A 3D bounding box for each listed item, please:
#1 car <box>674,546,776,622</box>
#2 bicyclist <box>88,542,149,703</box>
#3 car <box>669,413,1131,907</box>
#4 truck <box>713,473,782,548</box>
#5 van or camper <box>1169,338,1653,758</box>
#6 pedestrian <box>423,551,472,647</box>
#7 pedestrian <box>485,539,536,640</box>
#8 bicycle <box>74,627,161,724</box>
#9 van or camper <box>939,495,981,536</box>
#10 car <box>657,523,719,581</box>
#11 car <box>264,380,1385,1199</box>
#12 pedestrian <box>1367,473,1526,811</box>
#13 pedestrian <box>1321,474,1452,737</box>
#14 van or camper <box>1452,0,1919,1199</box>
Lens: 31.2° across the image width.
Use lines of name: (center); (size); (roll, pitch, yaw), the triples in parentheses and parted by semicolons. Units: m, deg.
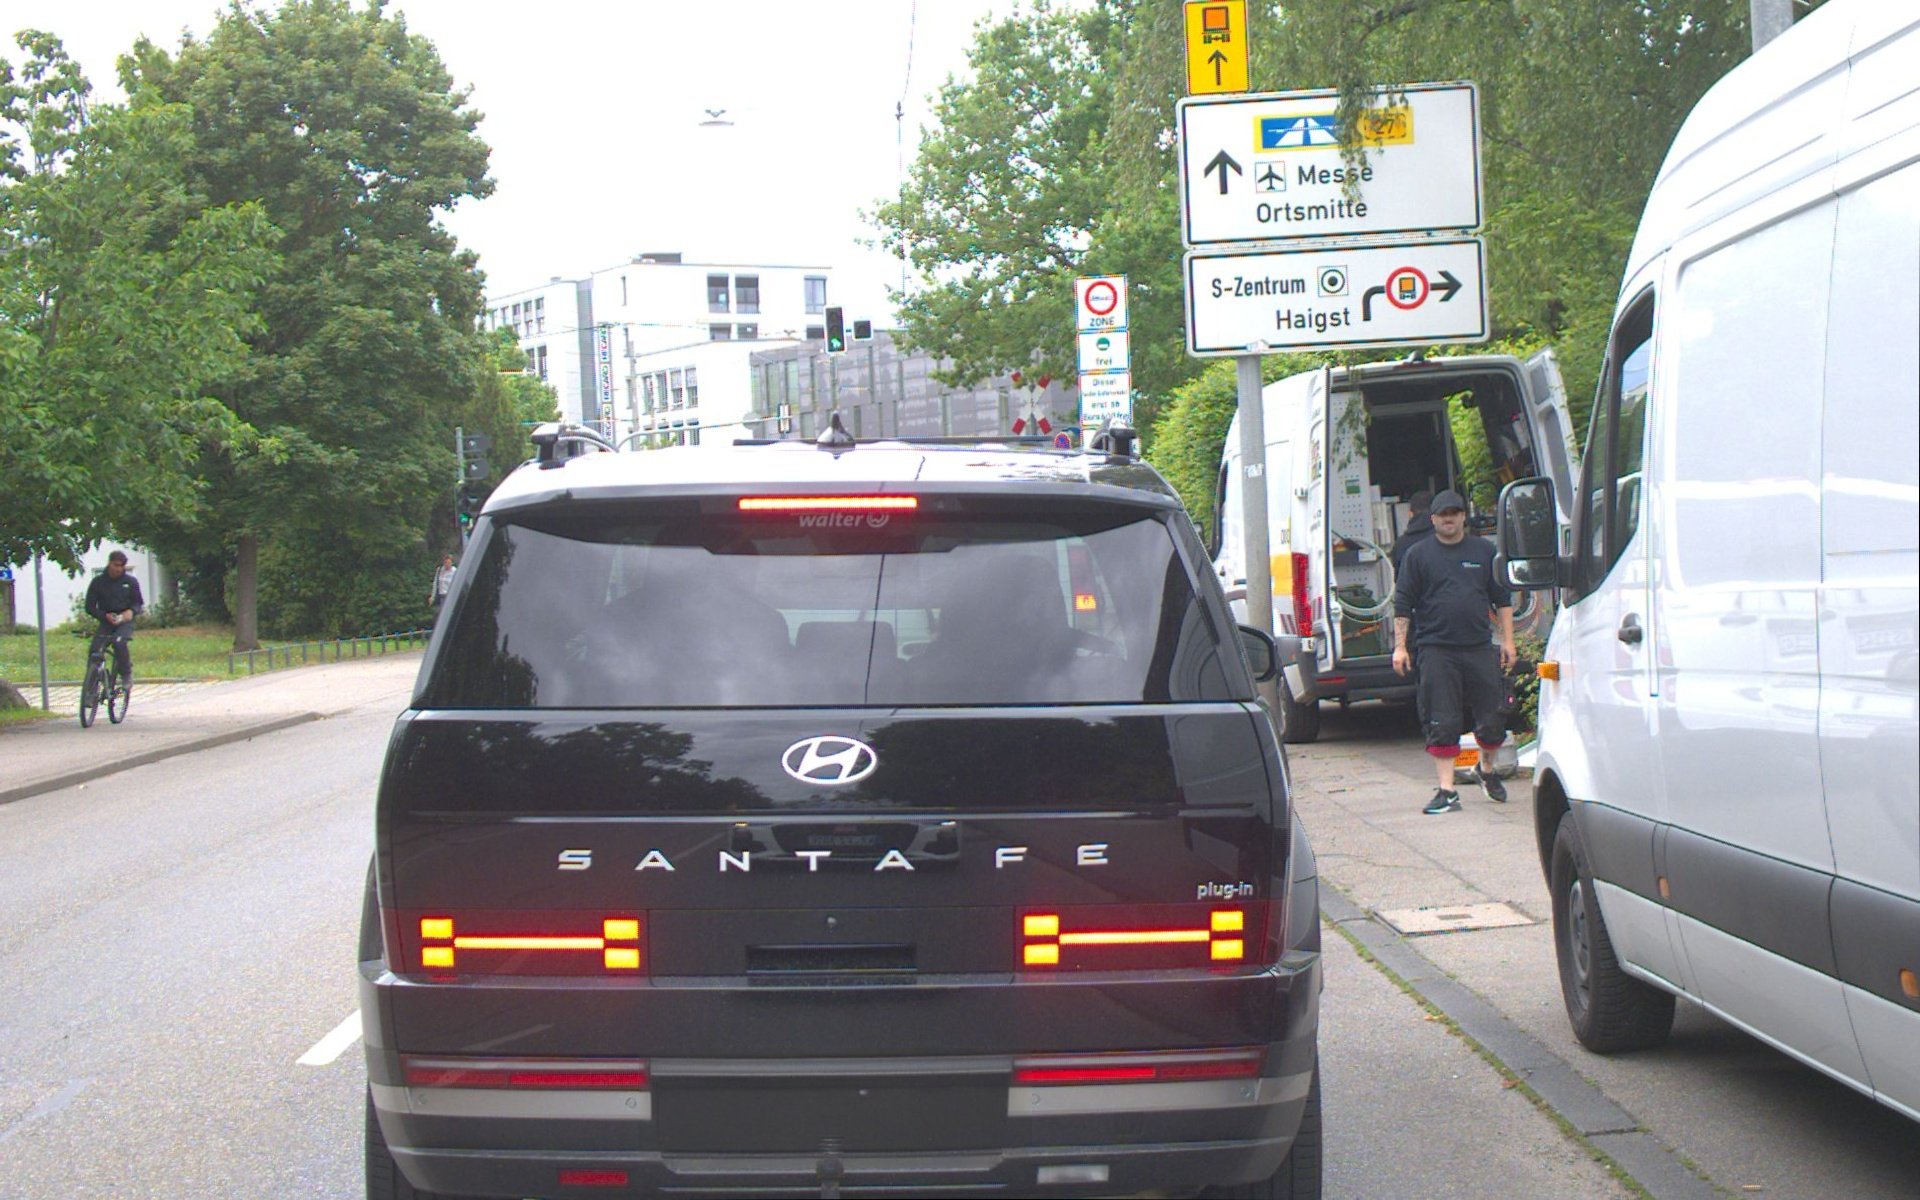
car: (-4.823, -0.343, 70.929); (1.756, 1.398, 4.414); (-4, 1, -1)
bicyclist: (-8.886, 0.236, 36.307); (0.487, 1.678, 0.588); (1, 0, -1)
car: (-0.274, 0.231, 16.342); (1.897, 2.035, 3.994); (1, 1, -1)
truck: (-11.626, -4.845, 187.386); (3.107, 3.846, 9.623); (-2, 1, -6)
van or camper: (3.082, -0.332, 25.273); (2.340, 2.486, 6.603); (-5, 0, -1)
pedestrian: (-9.453, -0.021, 63.386); (0.767, 1.742, 0.904); (-1, 0, -1)
pedestrian: (-8.979, -0.213, 68.767); (0.830, 2.007, 1.047); (1, 0, 2)
bicycle: (-8.896, 0.787, 36.359); (0.495, 0.961, 1.748); (1, 1, -1)
van or camper: (-0.002, -4.219, 172.482); (1.795, 1.992, 3.824); (1, 1, -4)
car: (-11.418, -2.010, 144.183); (2.332, 2.307, 4.959); (-2, 1, -6)
car: (-0.257, 0.503, 7.879); (1.897, 1.770, 3.994); (1, 1, -1)
pedestrian: (2.551, 0.209, 17.967); (0.750, 1.715, 0.791); (1, 0, 12)
pedestrian: (2.759, 0.033, 22.299); (0.736, 1.638, 0.801); (-3, 0, 6)
van or camper: (2.604, -0.018, 6.999); (1.991, 2.616, 6.544); (-5, 1, -1)
